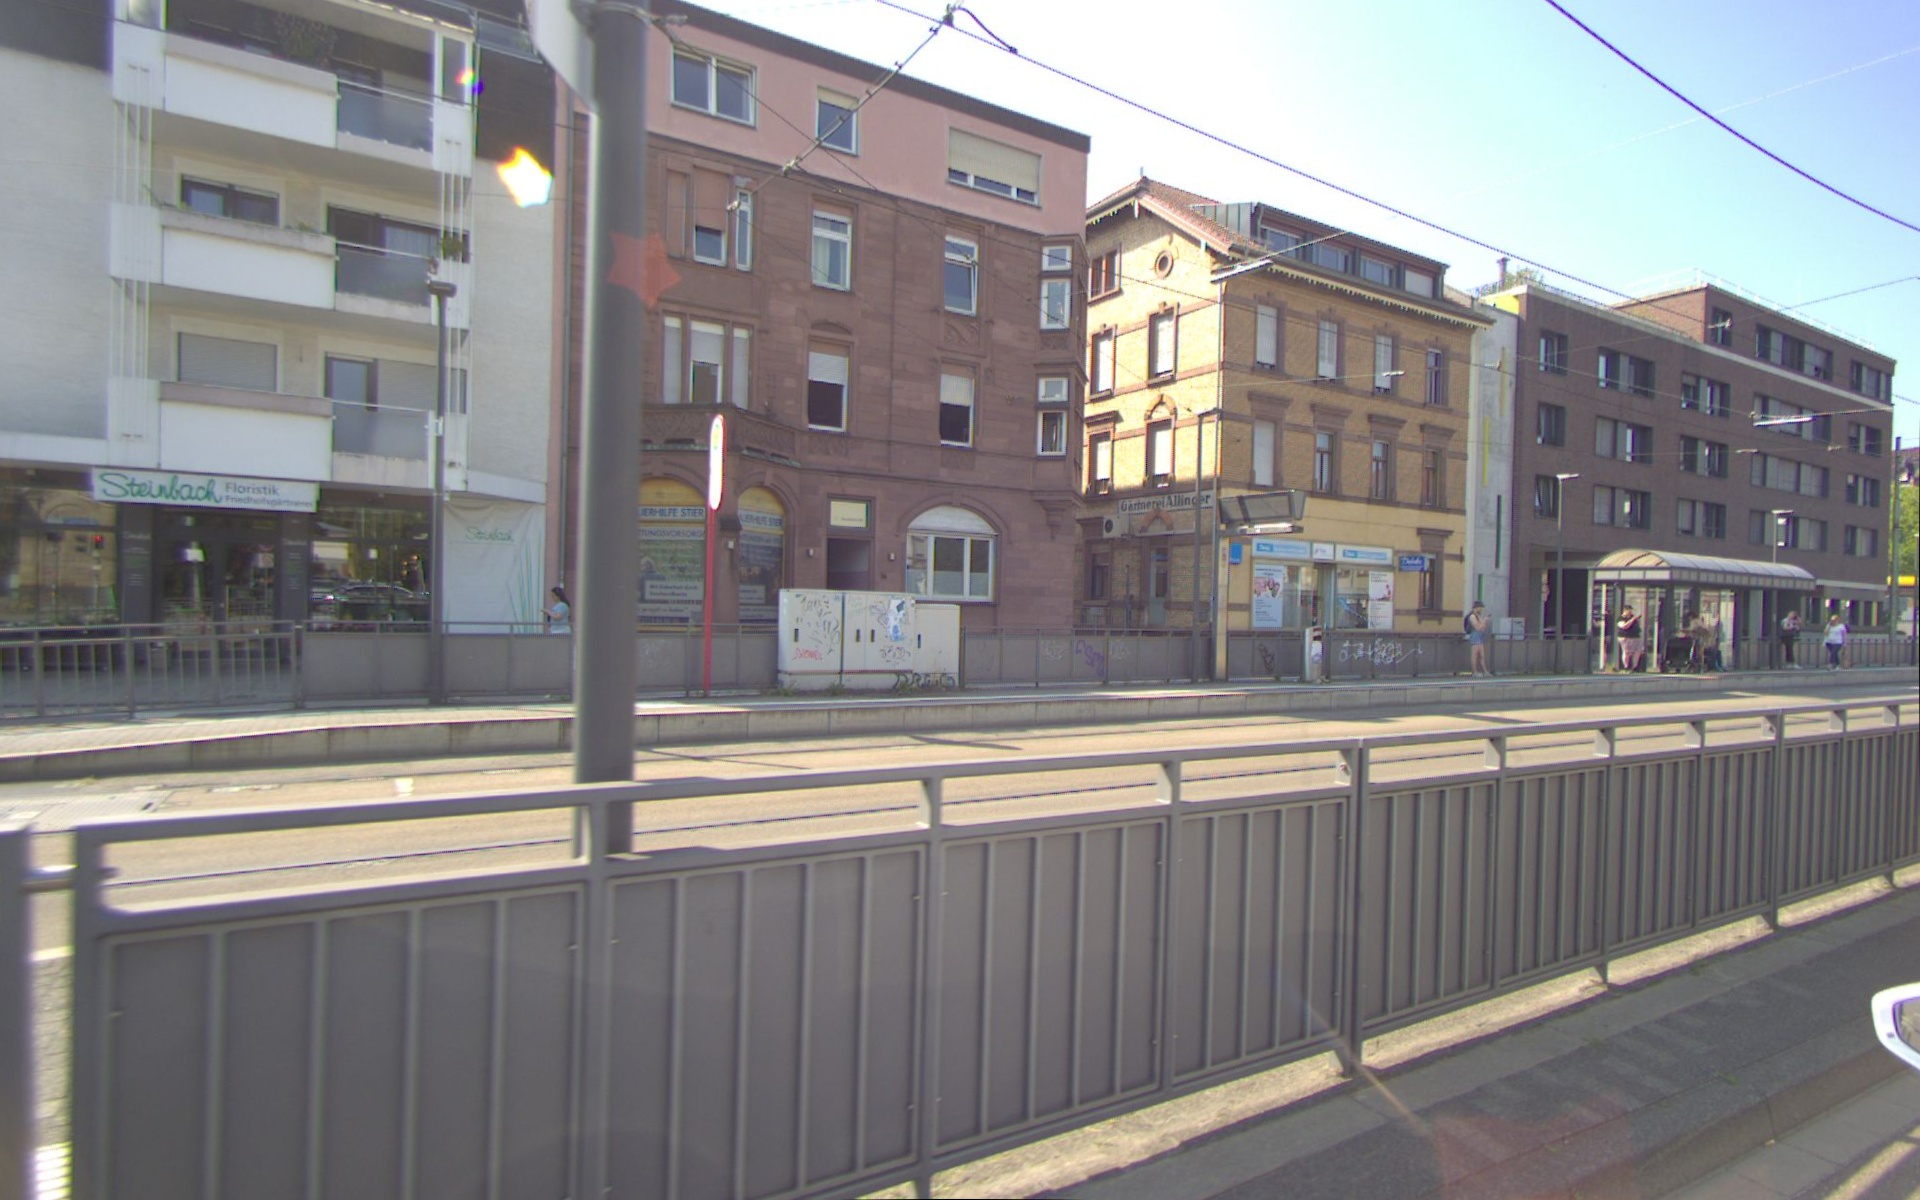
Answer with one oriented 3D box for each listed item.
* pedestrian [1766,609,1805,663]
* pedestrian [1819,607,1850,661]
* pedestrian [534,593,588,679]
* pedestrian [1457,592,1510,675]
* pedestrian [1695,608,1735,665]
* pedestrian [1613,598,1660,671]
[{"bbox_3d":[23.105,1.010,28.119,0.528,1.487,0.696,2,-2,-28],"label":"pedestrian"},{"bbox_3d":[25.273,0.977,29.028,0.695,1.550,0.528,1,-1,-37],"label":"pedestrian"},{"bbox_3d":[-7.503,0.676,18.905,0.874,1.581,0.482,2,1,-20],"label":"pedestrian"},{"bbox_3d":[11.333,0.719,21.761,0.790,1.746,0.704,1,-1,-30],"label":"pedestrian"},{"bbox_3d":[19.978,0.962,26.594,0.528,1.487,0.696,2,-2,-28],"label":"pedestrian"},{"bbox_3d":[16.948,0.860,25.153,0.790,1.770,0.704,1,-1,-30],"label":"pedestrian"}]
